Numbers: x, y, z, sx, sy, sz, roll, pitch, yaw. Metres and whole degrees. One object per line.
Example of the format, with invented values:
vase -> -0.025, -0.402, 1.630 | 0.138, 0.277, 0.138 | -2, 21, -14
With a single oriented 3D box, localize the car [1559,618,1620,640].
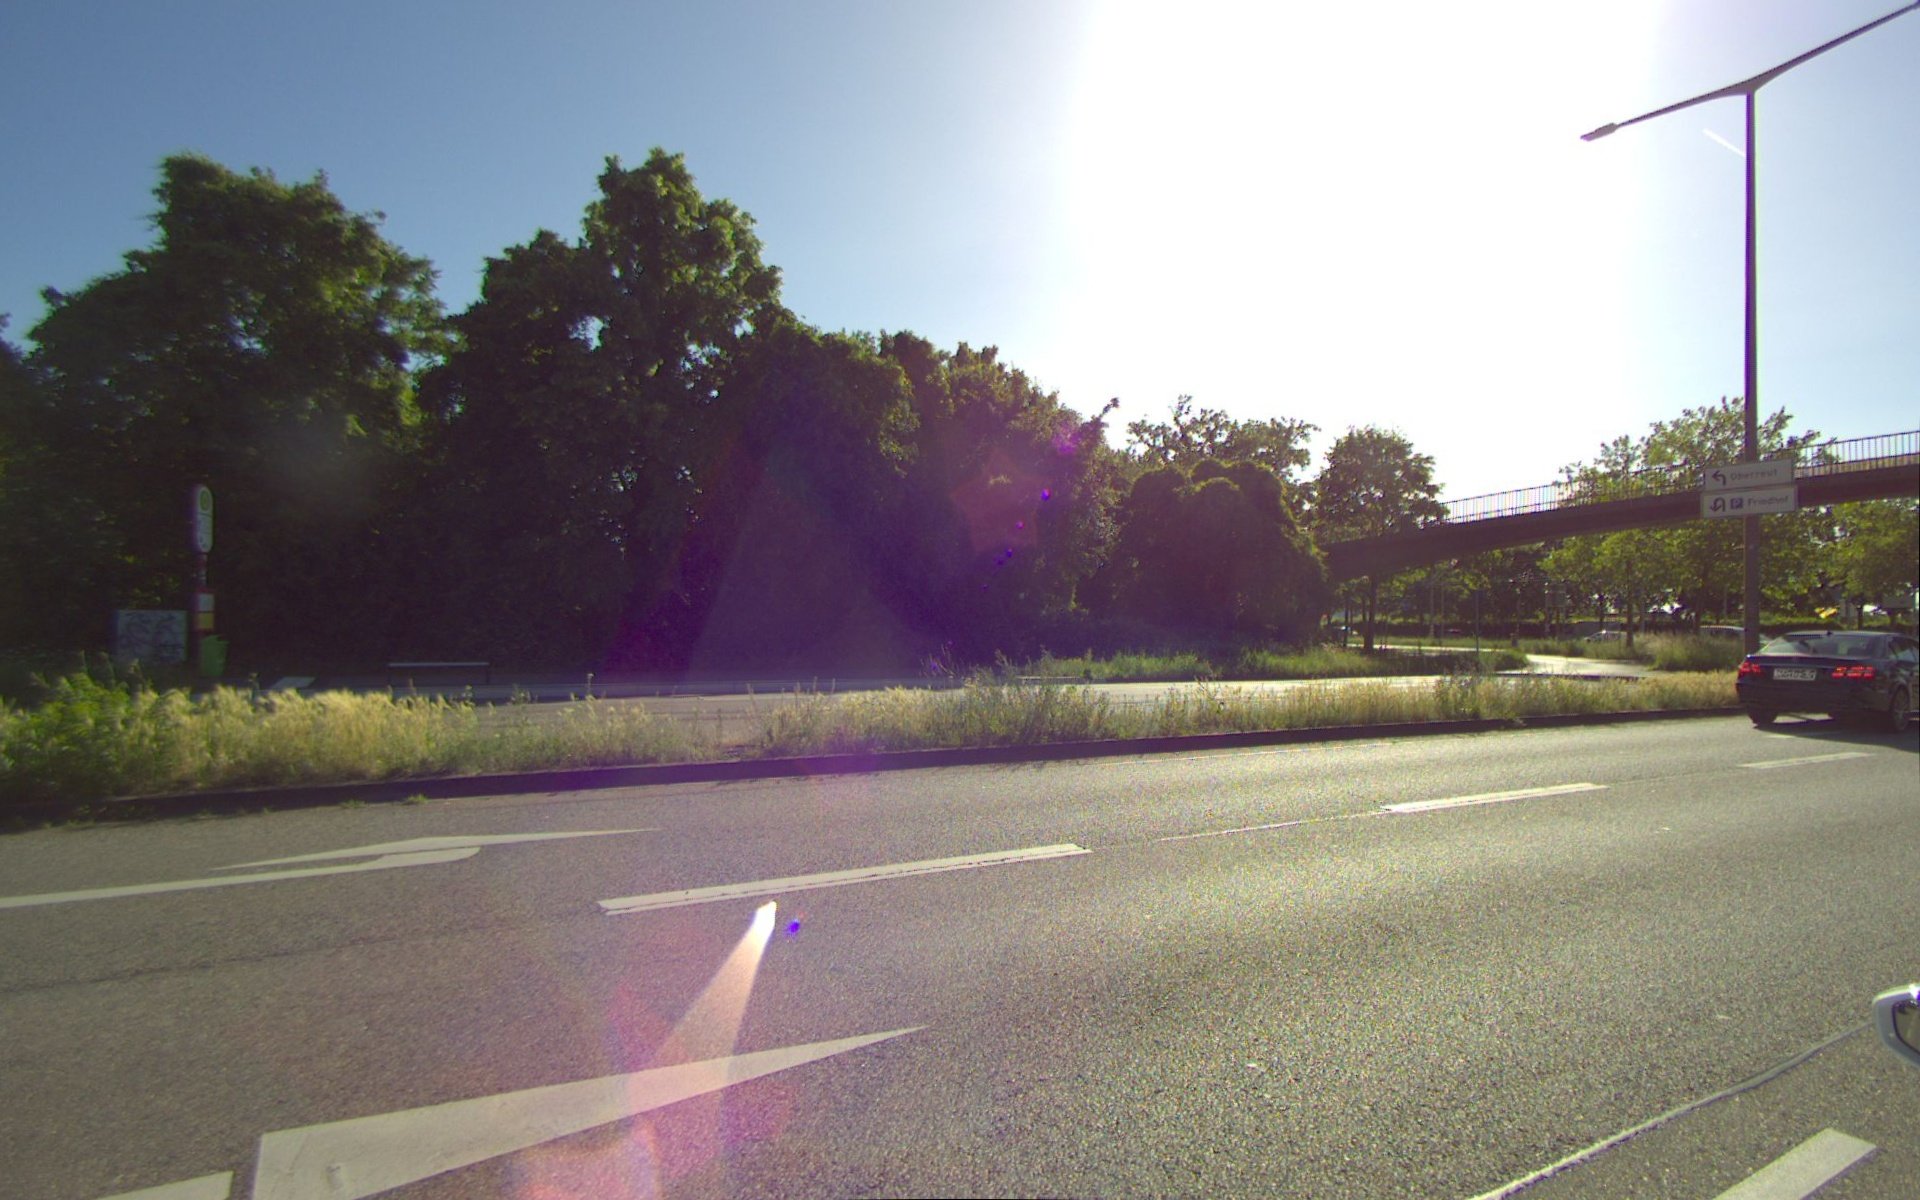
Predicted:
car -> 62.464, 2.870, 99.677 | 1.977, 2.040, 4.761 | 2, -1, -31

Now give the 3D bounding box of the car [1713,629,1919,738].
car -> 14.417, 1.259, 16.061 | 4.856, 1.502, 1.951 | 2, -2, -28

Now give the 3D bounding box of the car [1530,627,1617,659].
car -> 36.182, 2.511, 59.369 | 1.966, 1.672, 4.309 | 2, -1, -14
